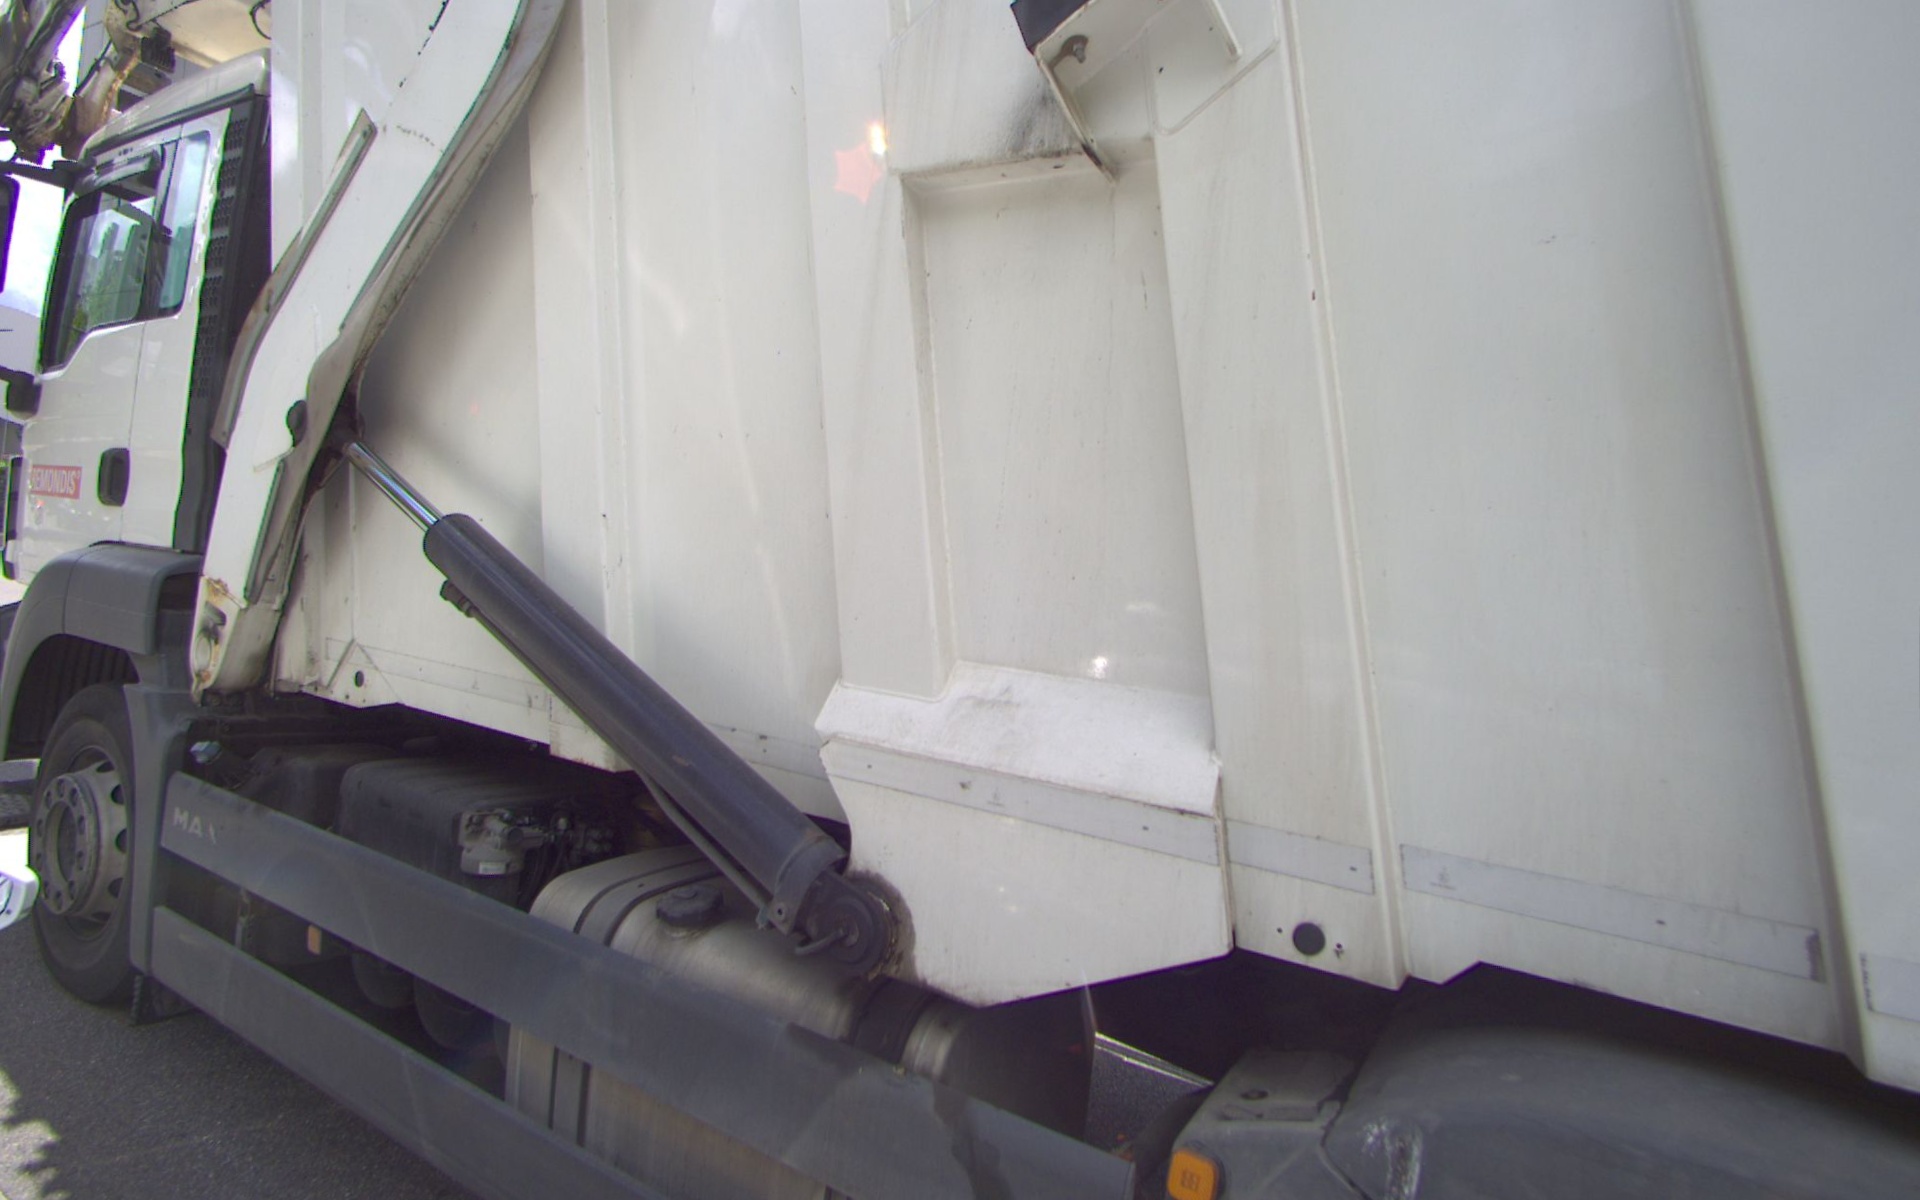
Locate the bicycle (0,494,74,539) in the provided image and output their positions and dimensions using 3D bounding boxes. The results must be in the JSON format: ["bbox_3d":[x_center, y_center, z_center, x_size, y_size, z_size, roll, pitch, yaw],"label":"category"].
[{"bbox_3d":[-29.302,-2.647,31.495,2.197,1.099,0.474,8,-1,-23],"label":"bicycle"}]

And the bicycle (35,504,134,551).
[{"bbox_3d":[-26.994,-2.218,31.058,2.166,1.099,0.474,8,-1,-23],"label":"bicycle"}]

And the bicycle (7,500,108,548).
[{"bbox_3d":[-27.967,-2.341,31.210,2.197,1.099,0.474,8,-1,-23],"label":"bicycle"}]

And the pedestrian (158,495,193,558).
[{"bbox_3d":[-23.725,-2.226,30.406,0.707,1.818,0.685,4,4,-42],"label":"pedestrian"}]

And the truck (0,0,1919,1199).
[{"bbox_3d":[1.107,-0.480,2.197,10.003,3.958,2.494,6,-1,31],"label":"truck"}]

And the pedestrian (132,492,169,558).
[{"bbox_3d":[-23.686,-2.195,29.432,0.707,1.818,0.634,3,4,-45],"label":"pedestrian"}]
